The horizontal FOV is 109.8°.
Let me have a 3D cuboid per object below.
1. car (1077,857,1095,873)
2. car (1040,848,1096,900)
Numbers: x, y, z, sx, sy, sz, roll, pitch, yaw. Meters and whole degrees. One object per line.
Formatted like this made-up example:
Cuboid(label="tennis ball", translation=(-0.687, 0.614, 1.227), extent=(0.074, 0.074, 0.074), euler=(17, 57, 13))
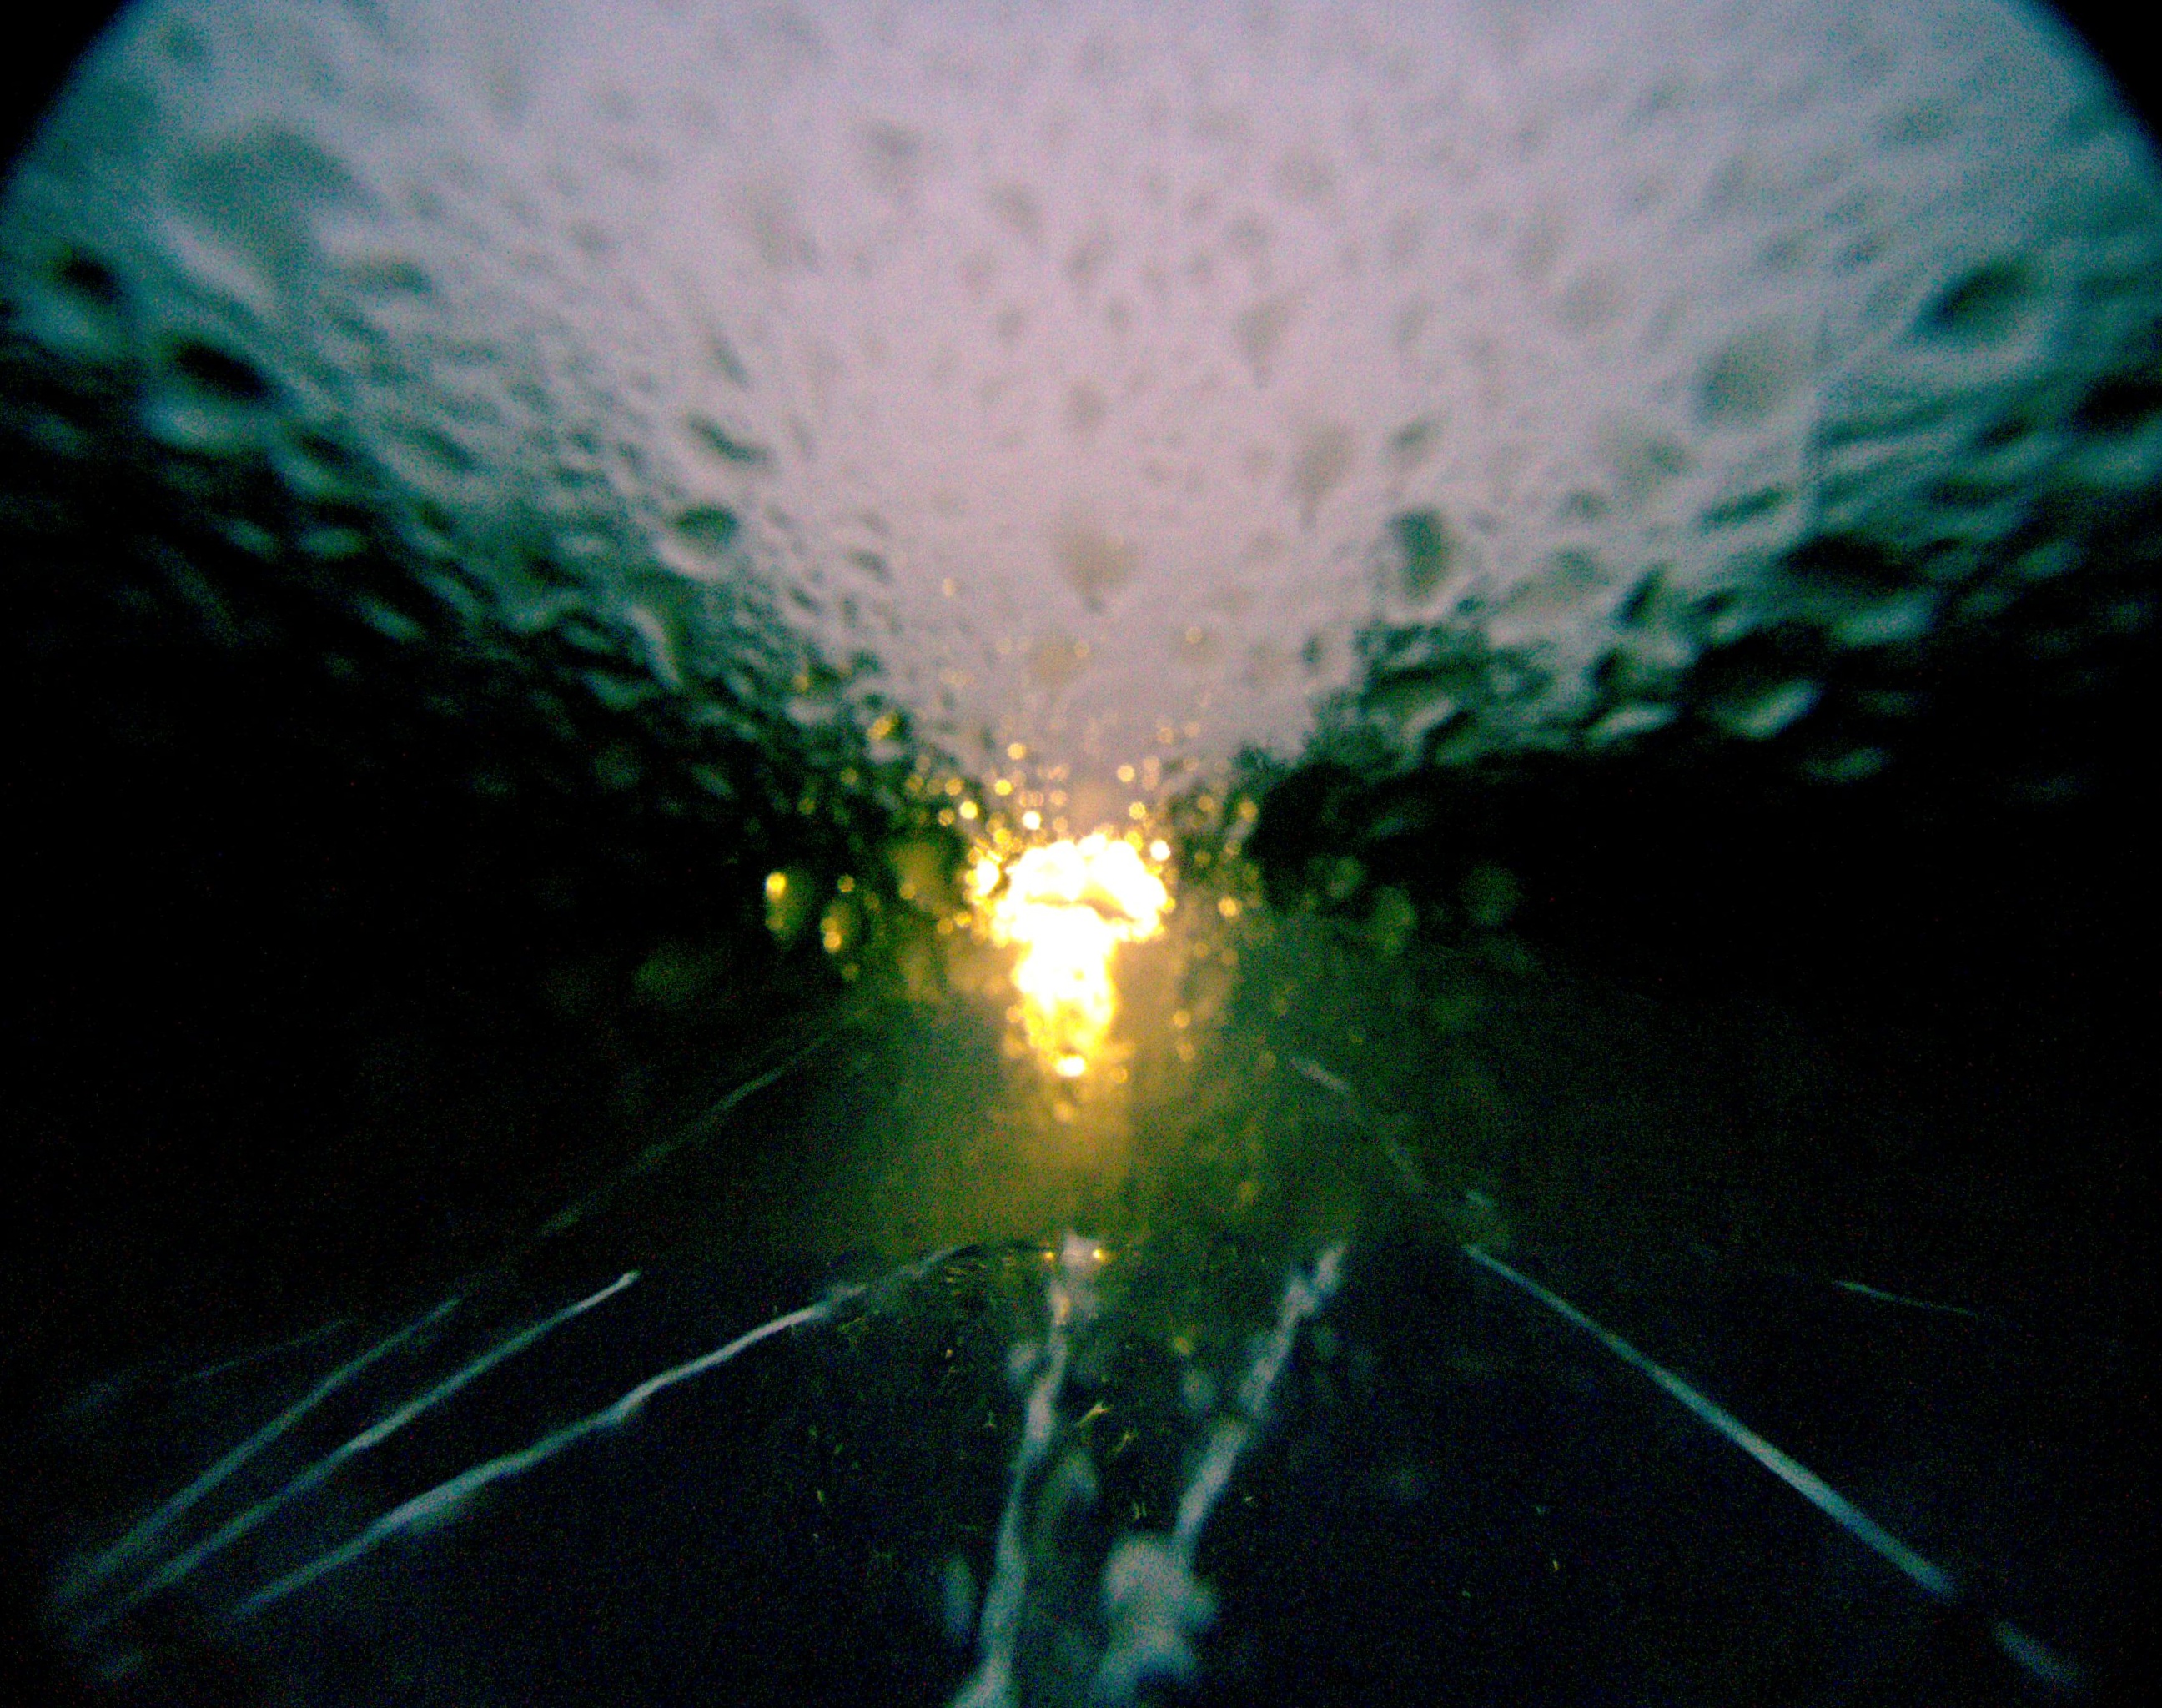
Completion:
Cuboid(label="car", translation=(0.606, 1.248, 90.705), extent=(1.998, 1.752, 4.371), euler=(-1, 1, 1))
Cuboid(label="car", translation=(-0.387, 0.644, 26.978), extent=(1.572, 1.701, 4.001), euler=(-1, 1, 5))
